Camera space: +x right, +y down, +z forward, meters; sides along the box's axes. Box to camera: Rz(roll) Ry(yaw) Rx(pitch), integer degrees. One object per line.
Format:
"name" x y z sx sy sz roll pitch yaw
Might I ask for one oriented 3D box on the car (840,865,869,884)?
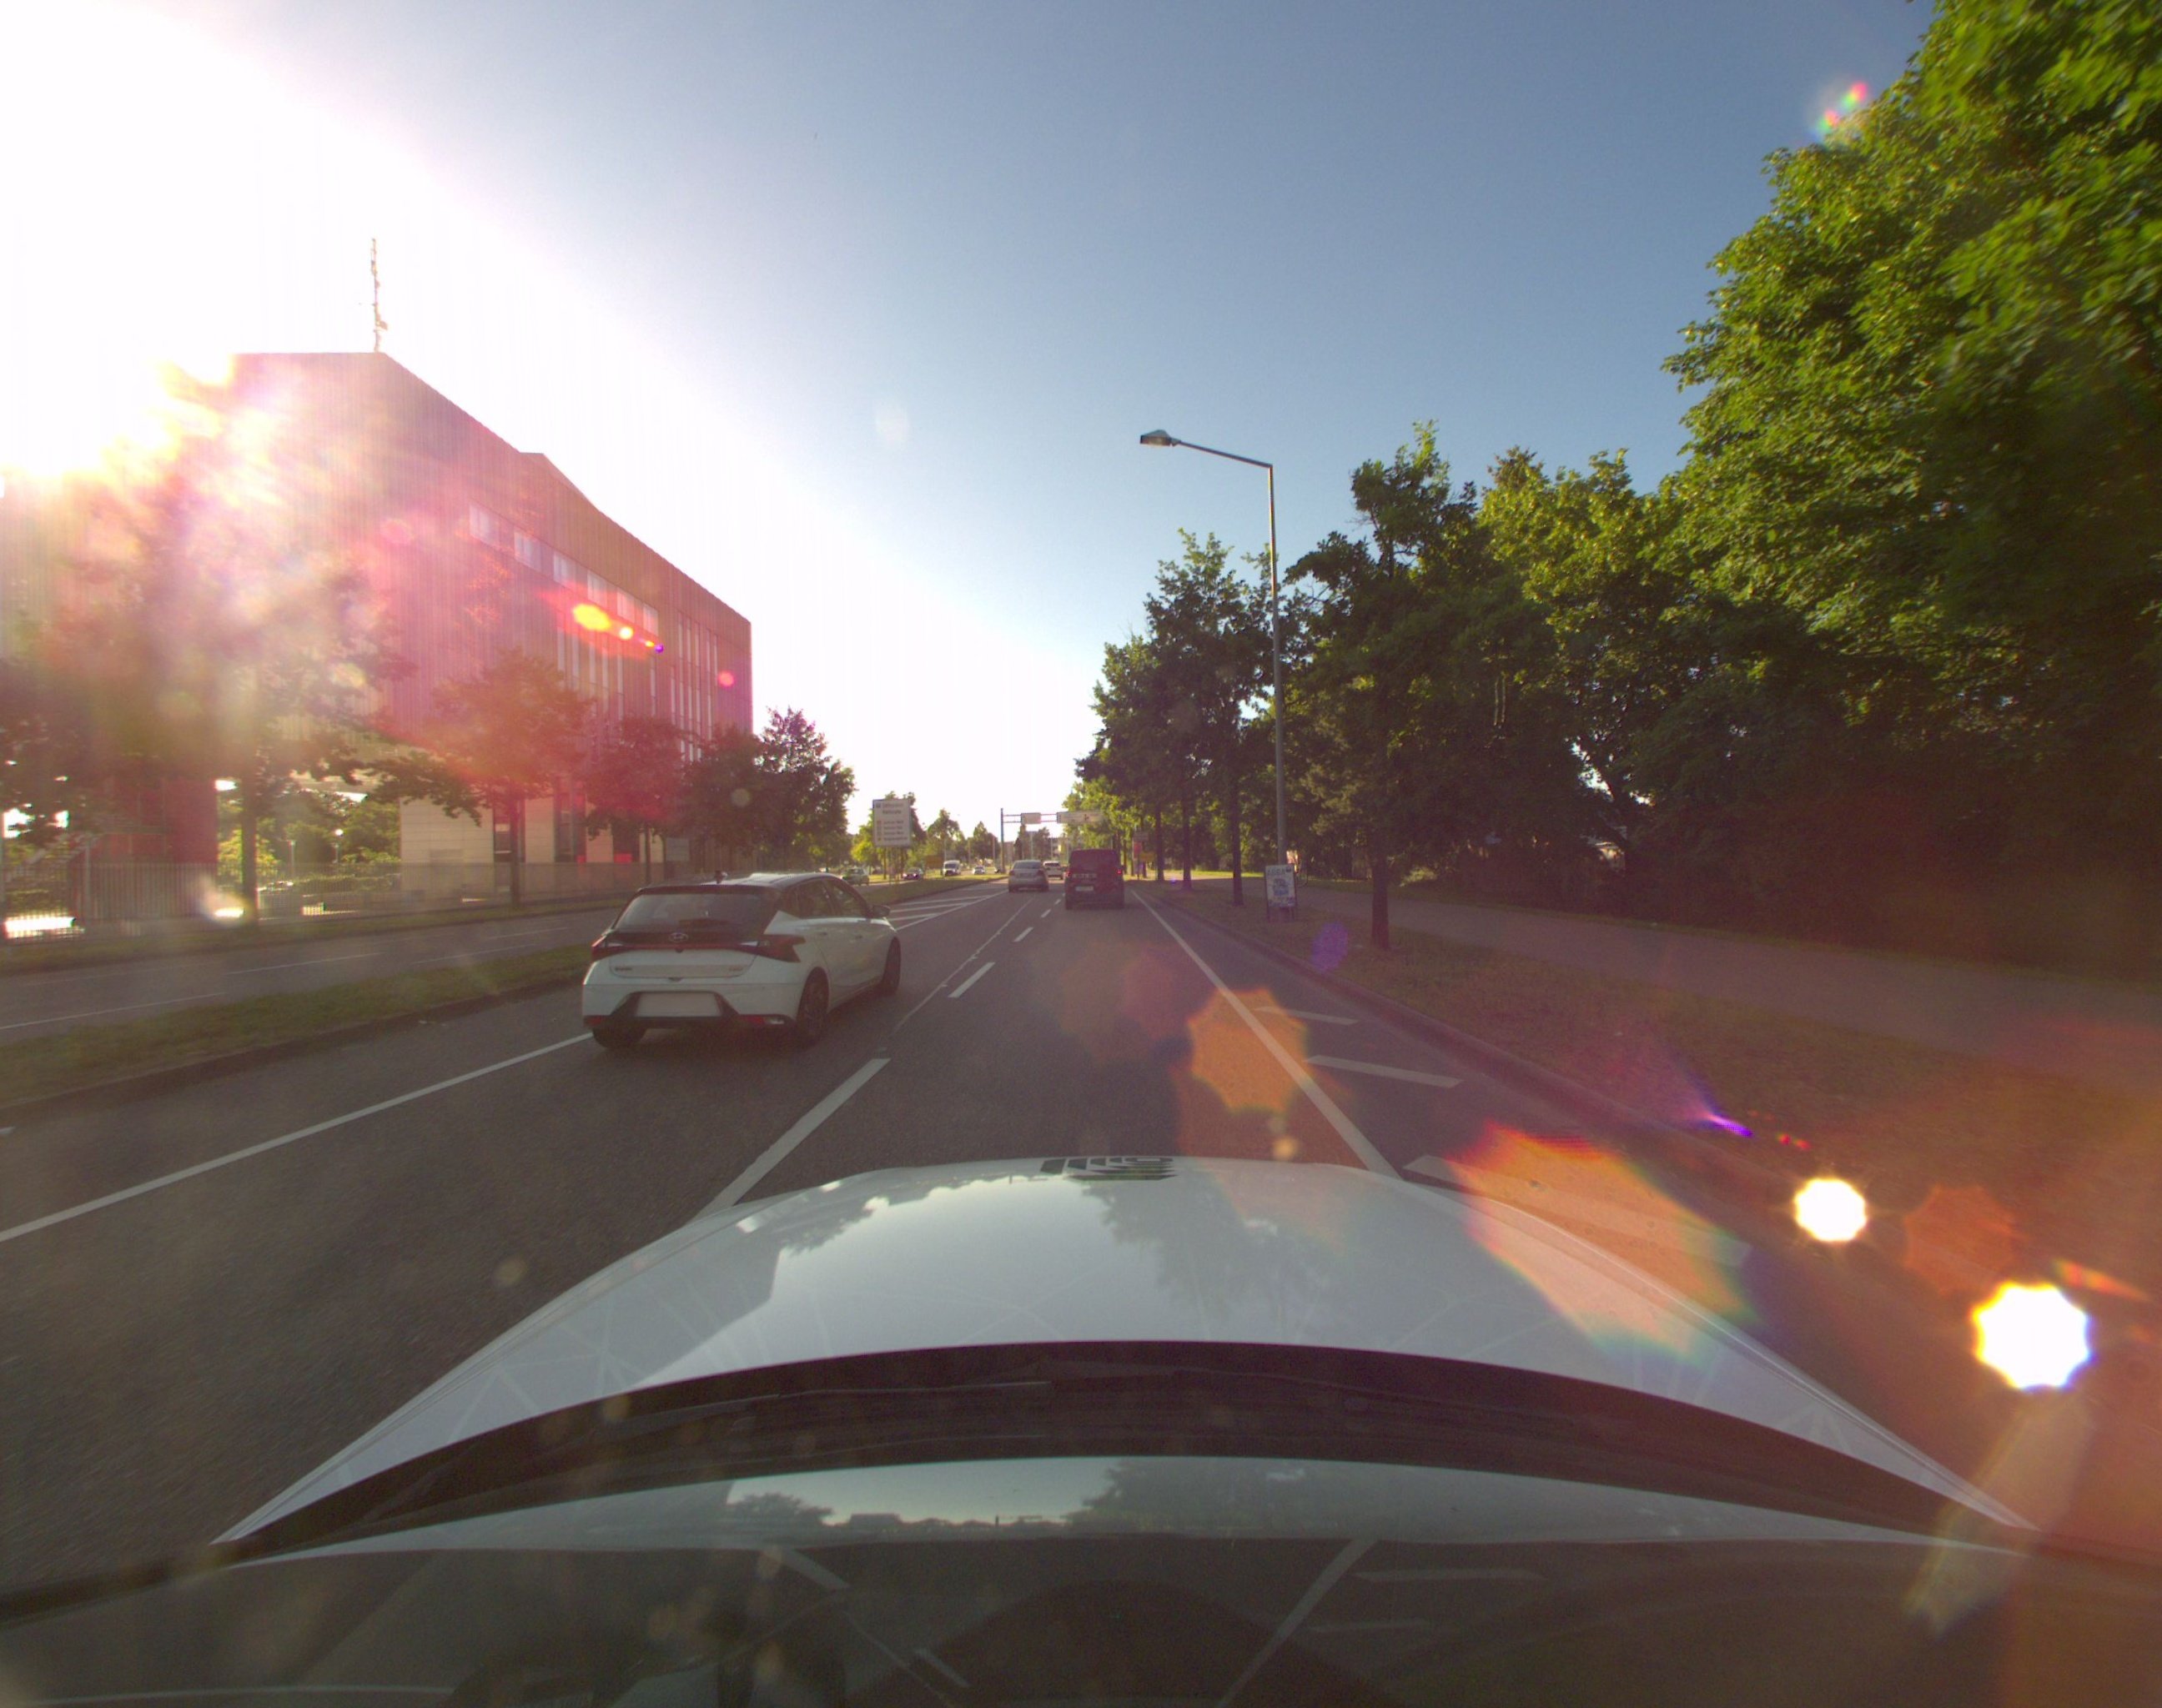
"car" -18.579 1.704 66.978 1.442 1.436 3.457 -2 0 -2

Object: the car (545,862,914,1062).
"car" -3.011 0.818 8.046 1.772 1.409 4.076 -1 0 1

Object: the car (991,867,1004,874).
"car" -13.794 2.746 134.858 1.823 1.111 4.170 -2 0 -2

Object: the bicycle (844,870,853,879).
"bicycle" -27.509 2.405 96.239 0.485 1.003 2.095 -2 -1 -1

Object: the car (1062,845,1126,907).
"car" 0.354 0.647 25.442 1.801 1.759 4.004 -1 0 -1

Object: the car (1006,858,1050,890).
"car" -2.473 0.906 38.737 1.835 1.456 4.161 0 0 0

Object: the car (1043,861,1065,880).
"car" -2.098 1.283 63.714 1.656 1.398 3.557 -2 0 -1

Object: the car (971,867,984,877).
"car" -16.297 2.785 128.482 1.684 1.476 4.045 -2 0 -2

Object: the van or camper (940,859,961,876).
"van or camper" -18.879 1.928 118.217 1.988 2.368 5.990 -3 0 -1

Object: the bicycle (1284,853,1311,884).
"bicycle" 8.306 0.543 31.345 0.769 1.131 1.712 -2 0 7

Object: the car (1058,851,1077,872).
"car" -1.273 0.721 75.750 1.656 1.856 3.557 -2 0 -1

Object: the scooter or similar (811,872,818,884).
"scooter or similar" -26.025 2.315 79.604 0.230 1.149 1.327 -2 -1 0

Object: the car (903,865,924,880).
"car" -19.050 2.078 92.665 1.546 1.508 4.023 -2 0 -2

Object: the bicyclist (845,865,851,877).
"bicyclist" -27.526 2.000 96.108 0.481 1.395 0.844 -2 -1 -2
